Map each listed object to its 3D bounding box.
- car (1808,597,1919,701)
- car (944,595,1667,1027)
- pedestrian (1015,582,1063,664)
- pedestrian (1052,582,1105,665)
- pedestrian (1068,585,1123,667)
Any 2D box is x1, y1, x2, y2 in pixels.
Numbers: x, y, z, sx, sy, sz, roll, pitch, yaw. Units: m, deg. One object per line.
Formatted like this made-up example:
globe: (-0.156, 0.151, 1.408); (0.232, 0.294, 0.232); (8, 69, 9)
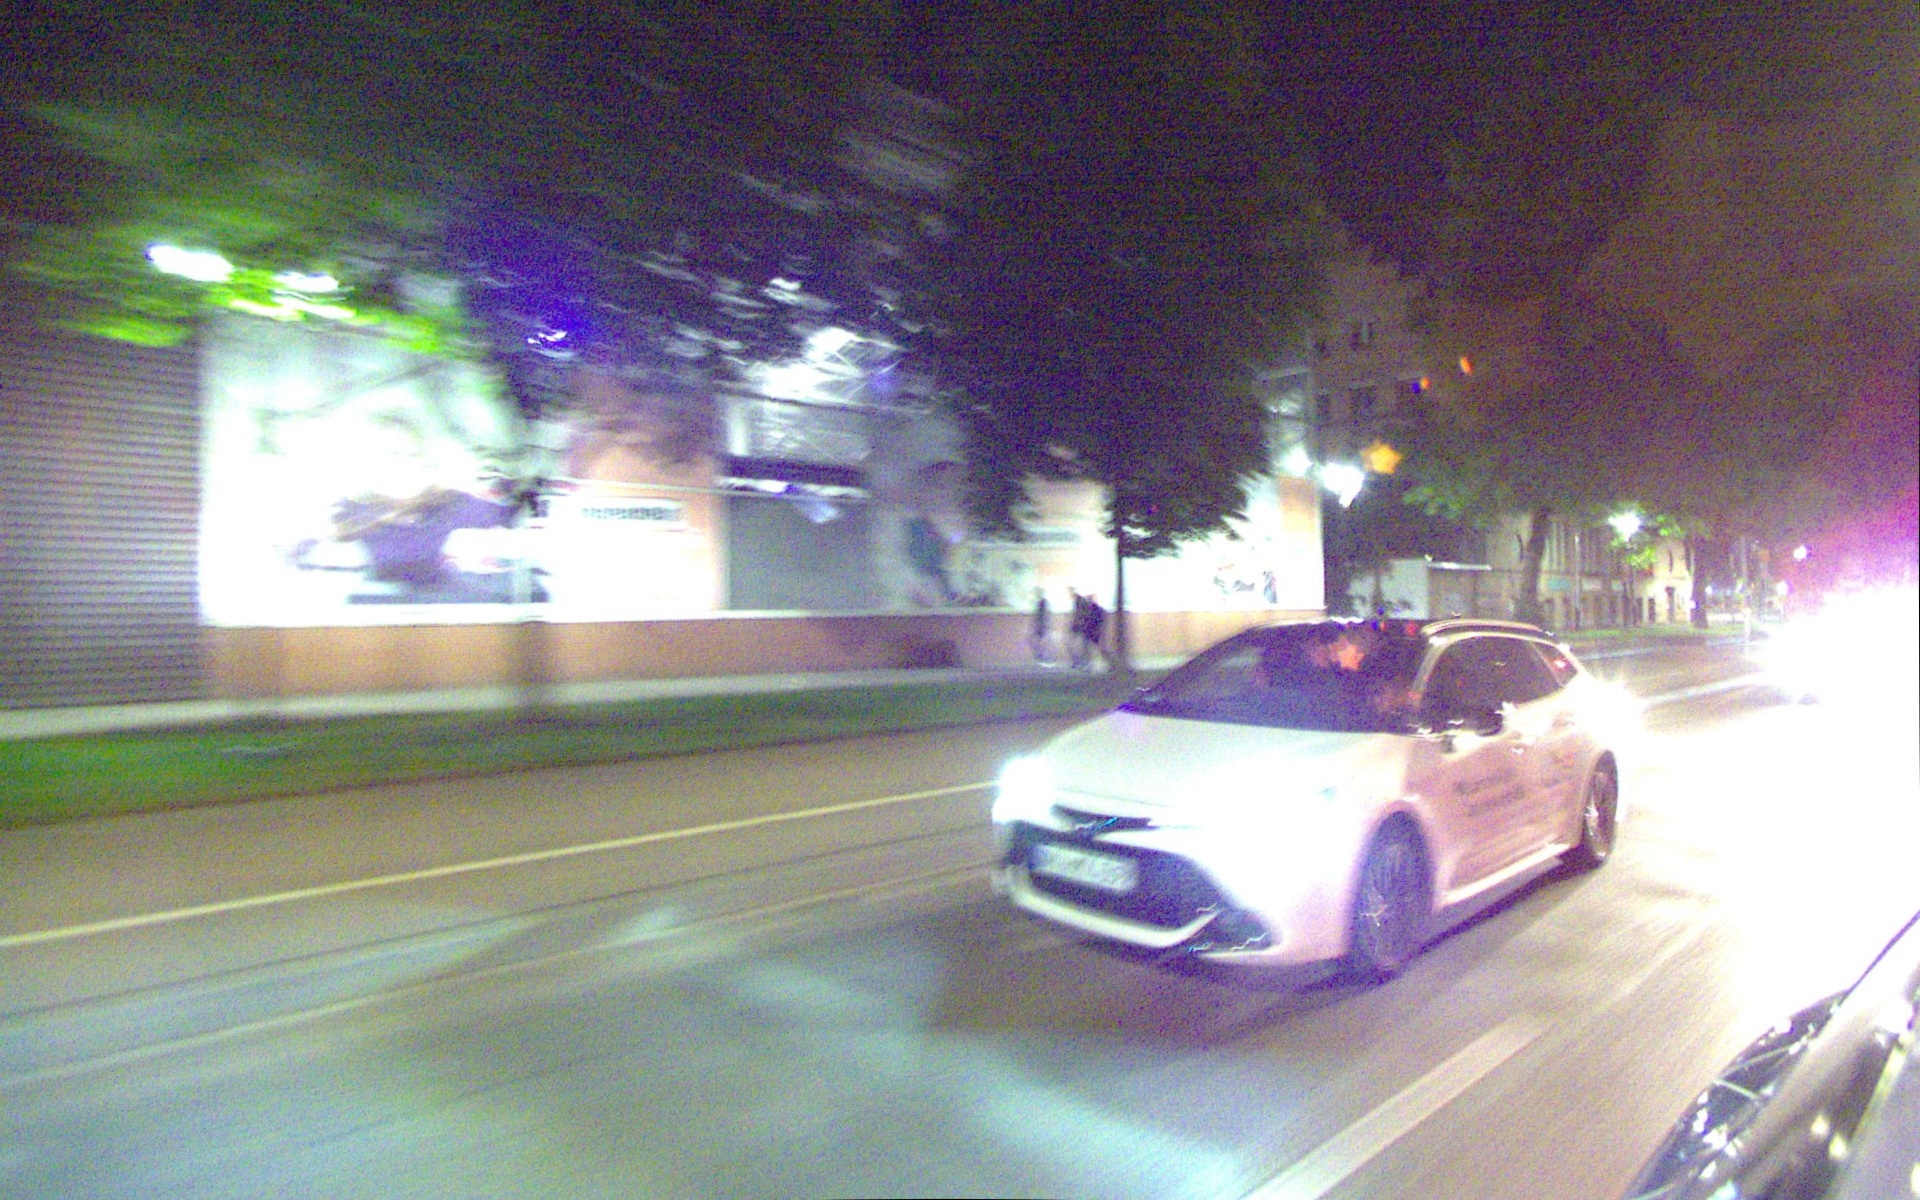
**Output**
car: (14.764, 0.695, 15.926); (3.774, 1.457, 1.632); (0, -1, -42)
car: (2.158, 0.718, 5.518); (4.419, 1.448, 1.727); (0, -1, -41)
pedestrian: (1.807, 0.505, 23.158); (0.890, 1.840, 0.675); (0, 0, -41)
pedestrian: (2.668, 0.509, 22.770); (0.953, 1.811, 0.720); (0, 0, -41)
pedestrian: (2.943, 0.547, 21.958); (0.968, 1.739, 0.736); (0, 0, -41)
